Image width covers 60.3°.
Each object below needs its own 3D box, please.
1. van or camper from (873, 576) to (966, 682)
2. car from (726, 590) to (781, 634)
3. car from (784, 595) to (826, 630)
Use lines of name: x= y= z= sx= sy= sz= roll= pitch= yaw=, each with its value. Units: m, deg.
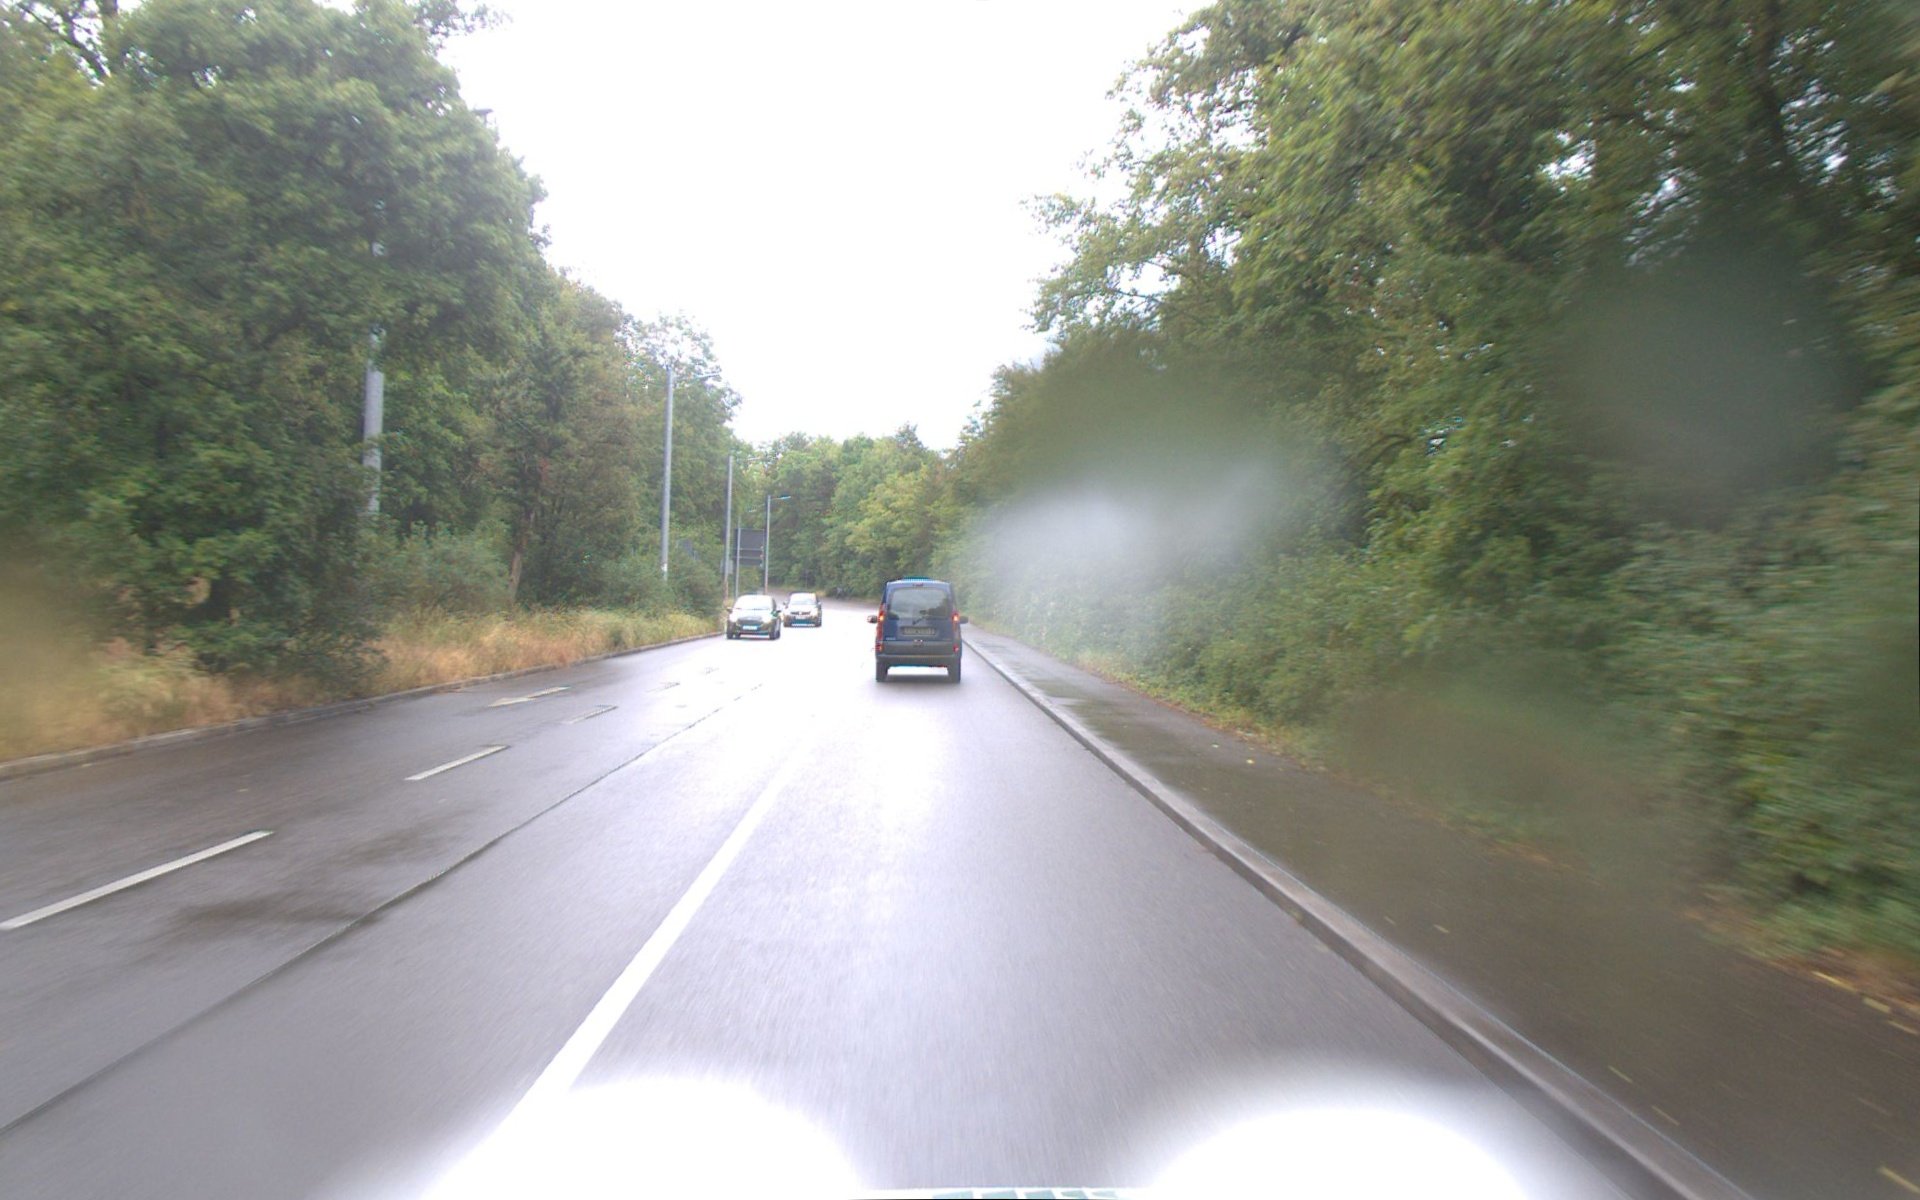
van or camper: x=-0.734 y=0.490 z=31.715 sx=1.677 sy=1.857 sz=4.000 roll=0 pitch=1 yaw=0
car: x=-7.166 y=0.404 z=57.583 sx=1.566 sy=1.466 sz=3.989 roll=0 pitch=0 yaw=-2
car: x=-7.555 y=0.584 z=81.059 sx=1.736 sy=1.638 sz=4.082 roll=2 pitch=0 yaw=-2
